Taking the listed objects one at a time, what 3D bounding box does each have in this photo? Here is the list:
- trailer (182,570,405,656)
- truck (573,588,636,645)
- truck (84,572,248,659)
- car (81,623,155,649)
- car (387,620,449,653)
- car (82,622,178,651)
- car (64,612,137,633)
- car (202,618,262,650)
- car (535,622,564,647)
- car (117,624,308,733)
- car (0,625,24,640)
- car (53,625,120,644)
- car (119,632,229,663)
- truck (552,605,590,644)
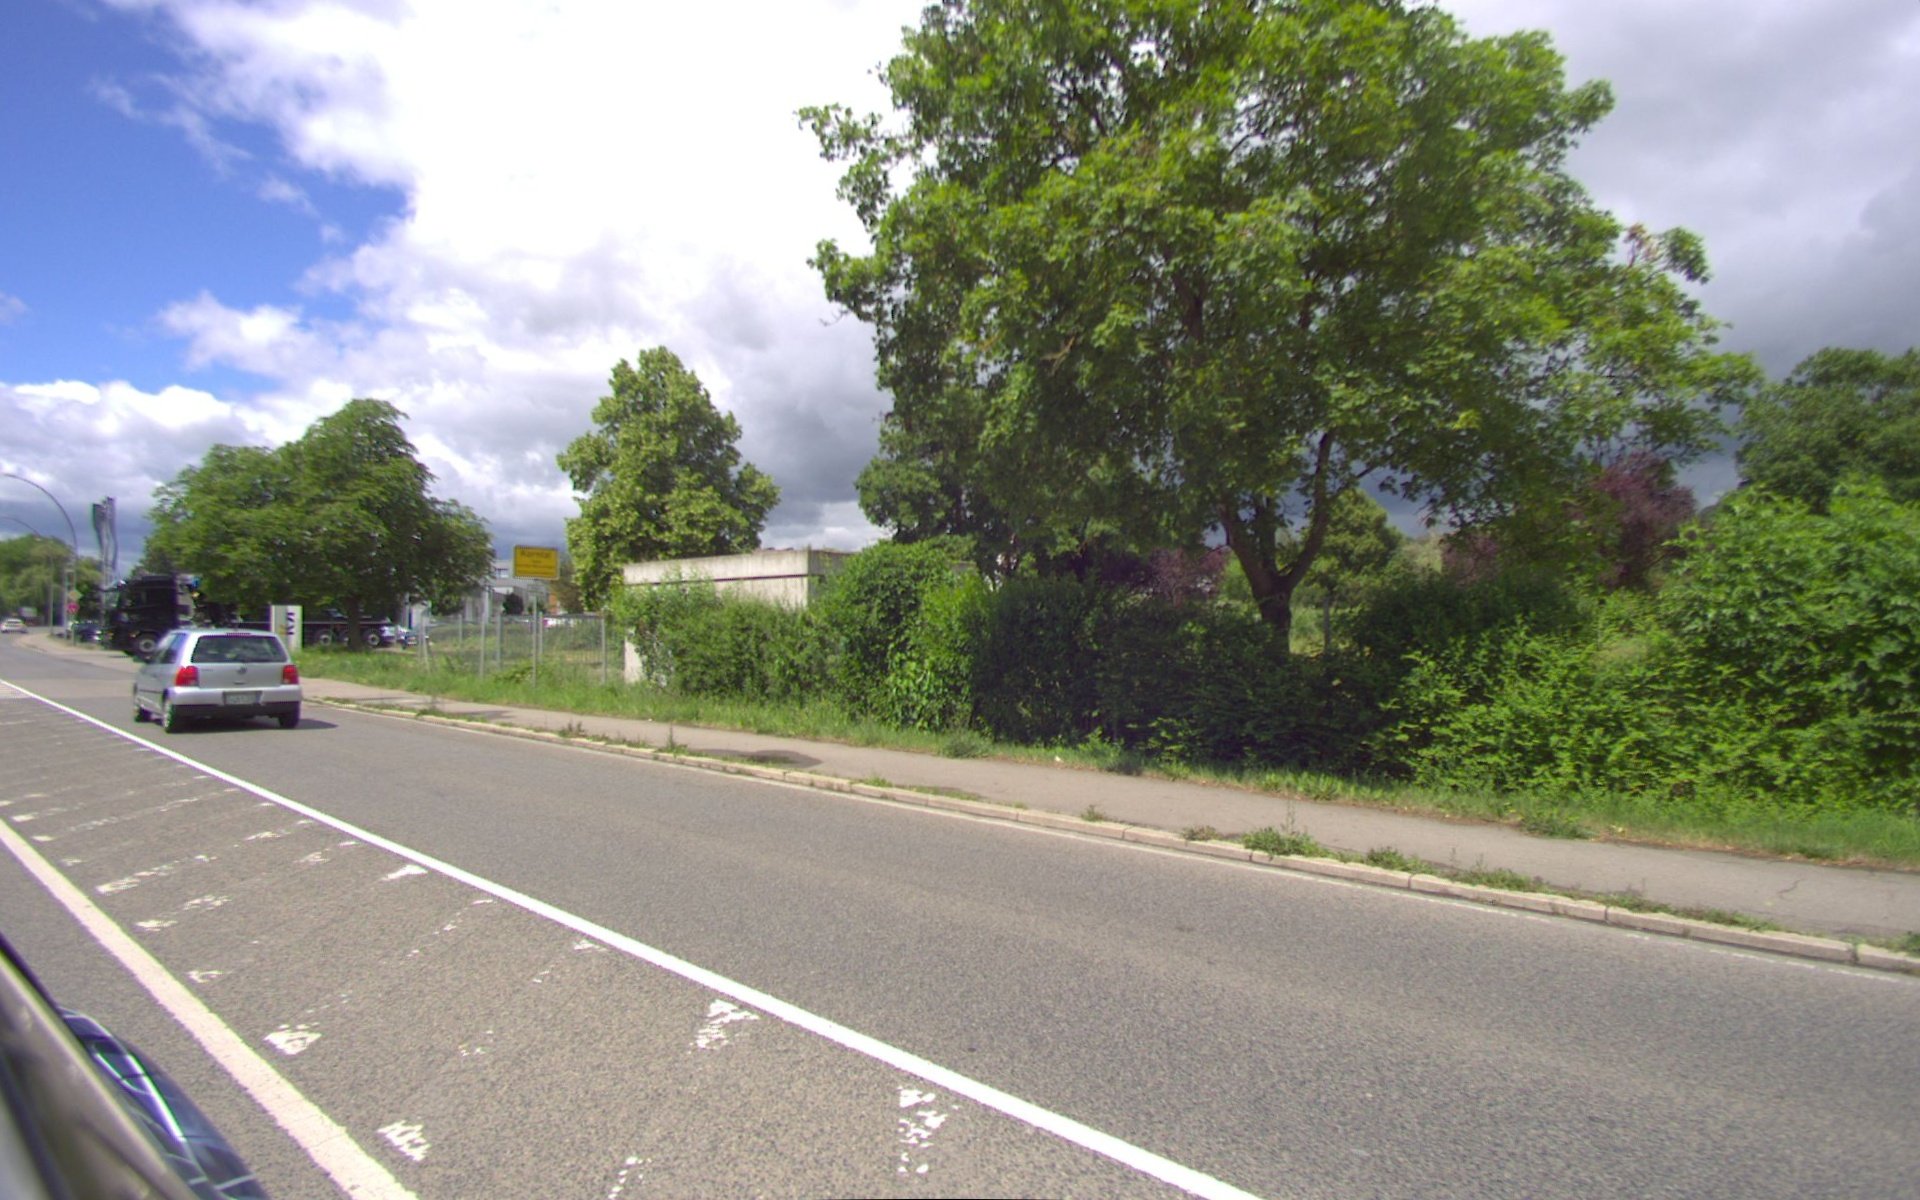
[{"bbox_3d":[-34.762,0.787,53.338,3.302,4.114,9.381,0,-2,26],"label":"trailer"},{"bbox_3d":[-21.003,1.022,59.494,2.618,3.073,8.618,1,-2,-25],"label":"truck"},{"bbox_3d":[-37.740,0.792,48.247,2.980,3.853,5.502,-1,-2,37],"label":"truck"},{"bbox_3d":[-57.477,2.436,69.162,1.863,1.681,4.580,-1,-1,-10],"label":"car"},{"bbox_3d":[-32.847,2.199,61.475,1.927,1.890,4.123,1,-2,-7],"label":"car"},{"bbox_3d":[-50.385,2.200,61.539,1.917,1.690,4.282,0,-2,12],"label":"car"},{"bbox_3d":[-79.828,2.083,94.012,4.880,1.852,1.896,1,-2,-8],"label":"car"},{"bbox_3d":[-41.000,1.920,56.962,4.601,1.734,1.909,-1,-2,44],"label":"car"},{"bbox_3d":[-31.841,2.666,78.645,1.802,1.860,4.689,1,-2,-19],"label":"car"},{"bbox_3d":[-11.322,1.123,15.246,3.693,1.443,1.642,-2,-4,43],"label":"car"},{"bbox_3d":[-98.930,3.396,105.166,1.968,1.461,4.435,4,-3,-38],"label":"car"},{"bbox_3d":[-72.573,2.902,84.150,3.894,1.506,1.806,1,-2,-5],"label":"car"},{"bbox_3d":[-44.836,2.694,57.866,1.969,1.617,4.721,1,-1,14],"label":"car"},{"bbox_3d":[-36.341,2.320,94.667,2.406,3.449,7.842,1,-2,-15],"label":"truck"}]
